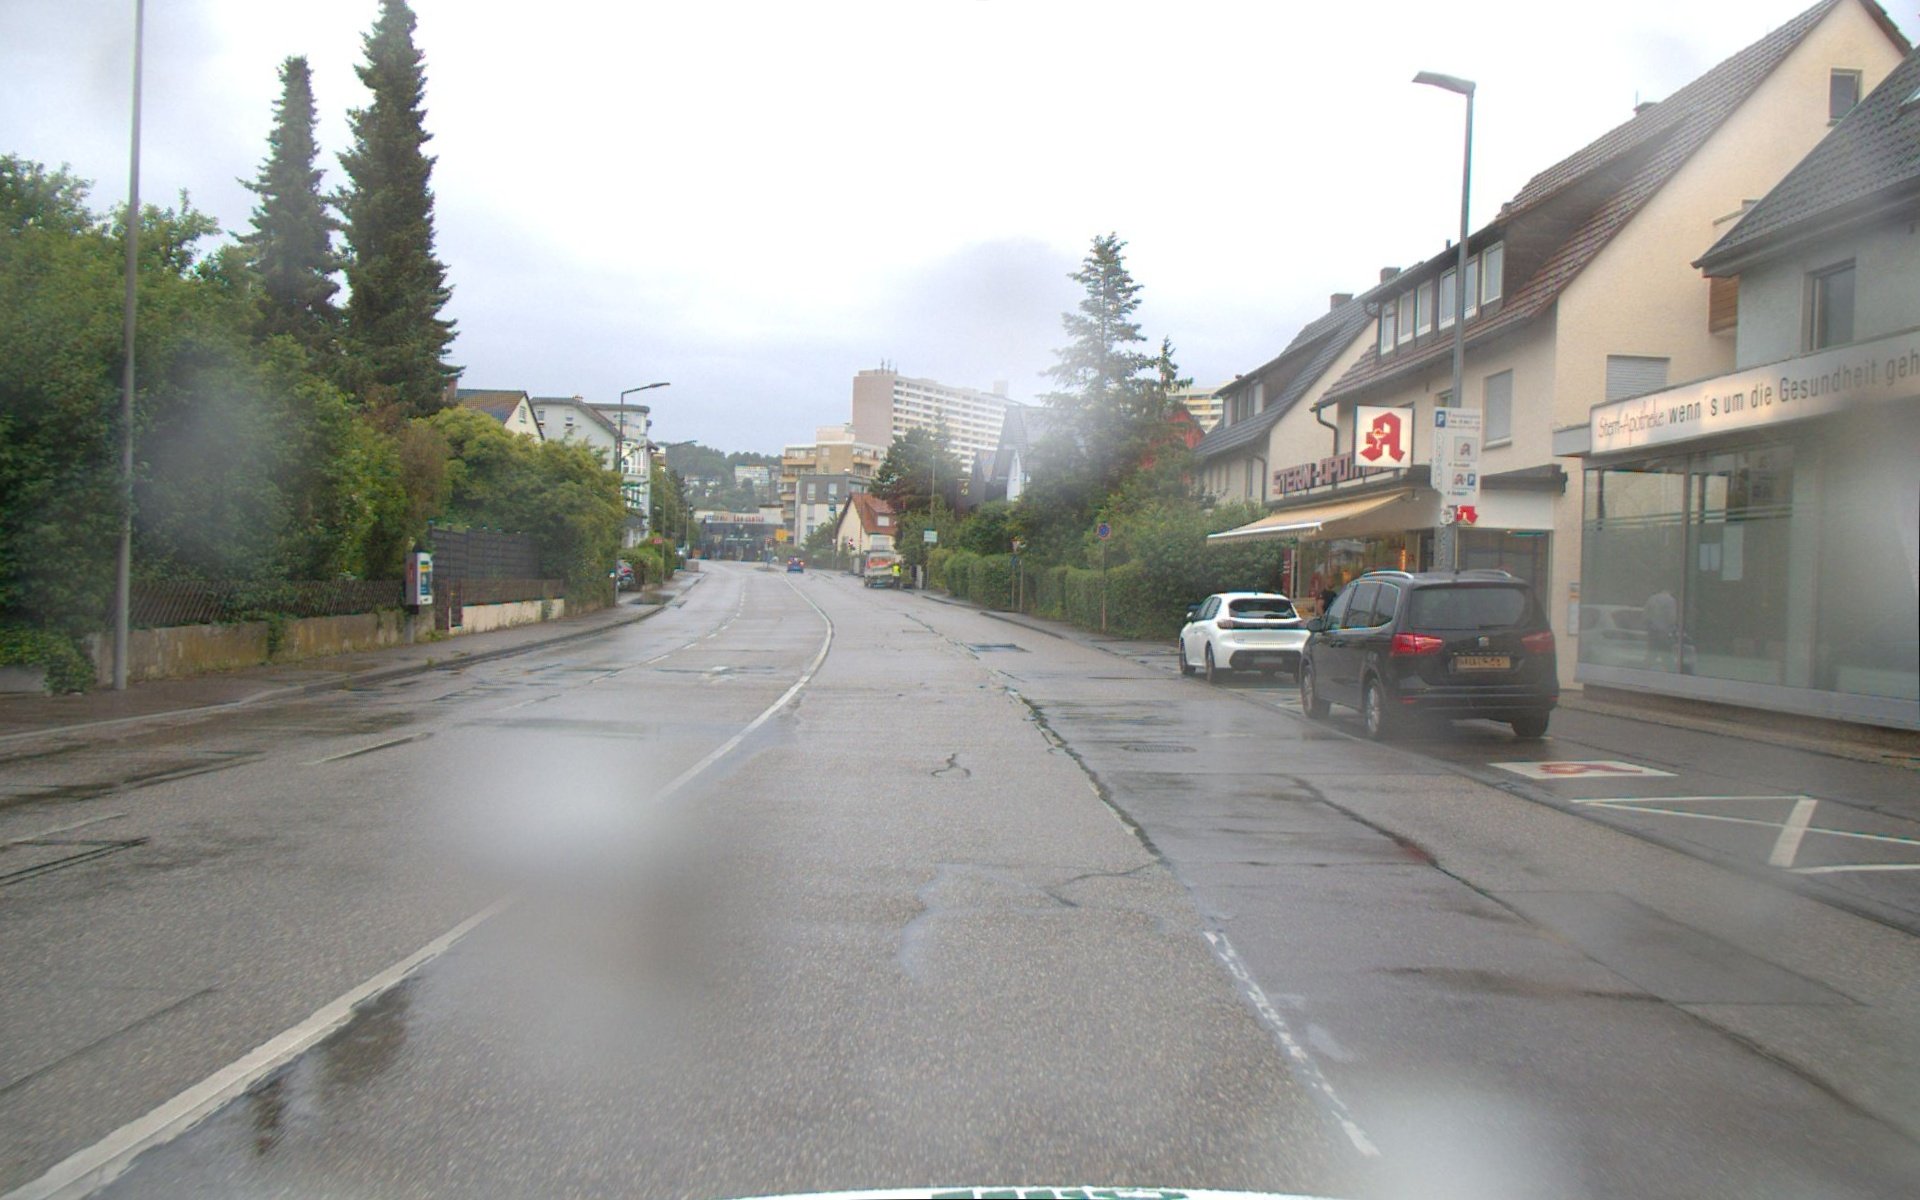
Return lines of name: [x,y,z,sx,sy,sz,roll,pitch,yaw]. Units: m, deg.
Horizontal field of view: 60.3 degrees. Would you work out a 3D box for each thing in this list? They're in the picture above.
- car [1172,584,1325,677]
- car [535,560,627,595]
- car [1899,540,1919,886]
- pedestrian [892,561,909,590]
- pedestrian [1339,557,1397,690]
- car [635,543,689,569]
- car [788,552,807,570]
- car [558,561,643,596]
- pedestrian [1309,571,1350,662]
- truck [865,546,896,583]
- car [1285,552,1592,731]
car: [4.880,0.463,28.527,1.778,1.473,4.202,0,1,-2]
car: [-18.167,-1.073,79.418,3.906,1.459,1.971,3,1,-1]
car: [5.632,0.525,5.784,1.837,1.671,4.790,-1,0,-2]
pedestrian: [-3.772,-1.540,104.611,0.812,1.828,0.794,1,1,-25]
pedestrian: [6.018,0.338,24.408,0.611,1.924,0.645,2,0,33]
car: [-26.997,-3.992,149.921,4.427,2.048,2.002,3,1,6]
car: [-16.065,-3.844,163.467,1.759,1.699,3.996,0,0,-5]
car: [-18.612,-1.101,85.753,3.902,1.715,1.810,1,1,11]
pedestrian: [6.997,0.305,31.324,0.546,1.708,0.510,1,0,-39]
truck: [-5.243,-2.352,108.718,1.954,2.343,3.998,1,1,-3]
car: [5.163,0.419,18.644,1.994,1.725,4.962,-1,0,0]
